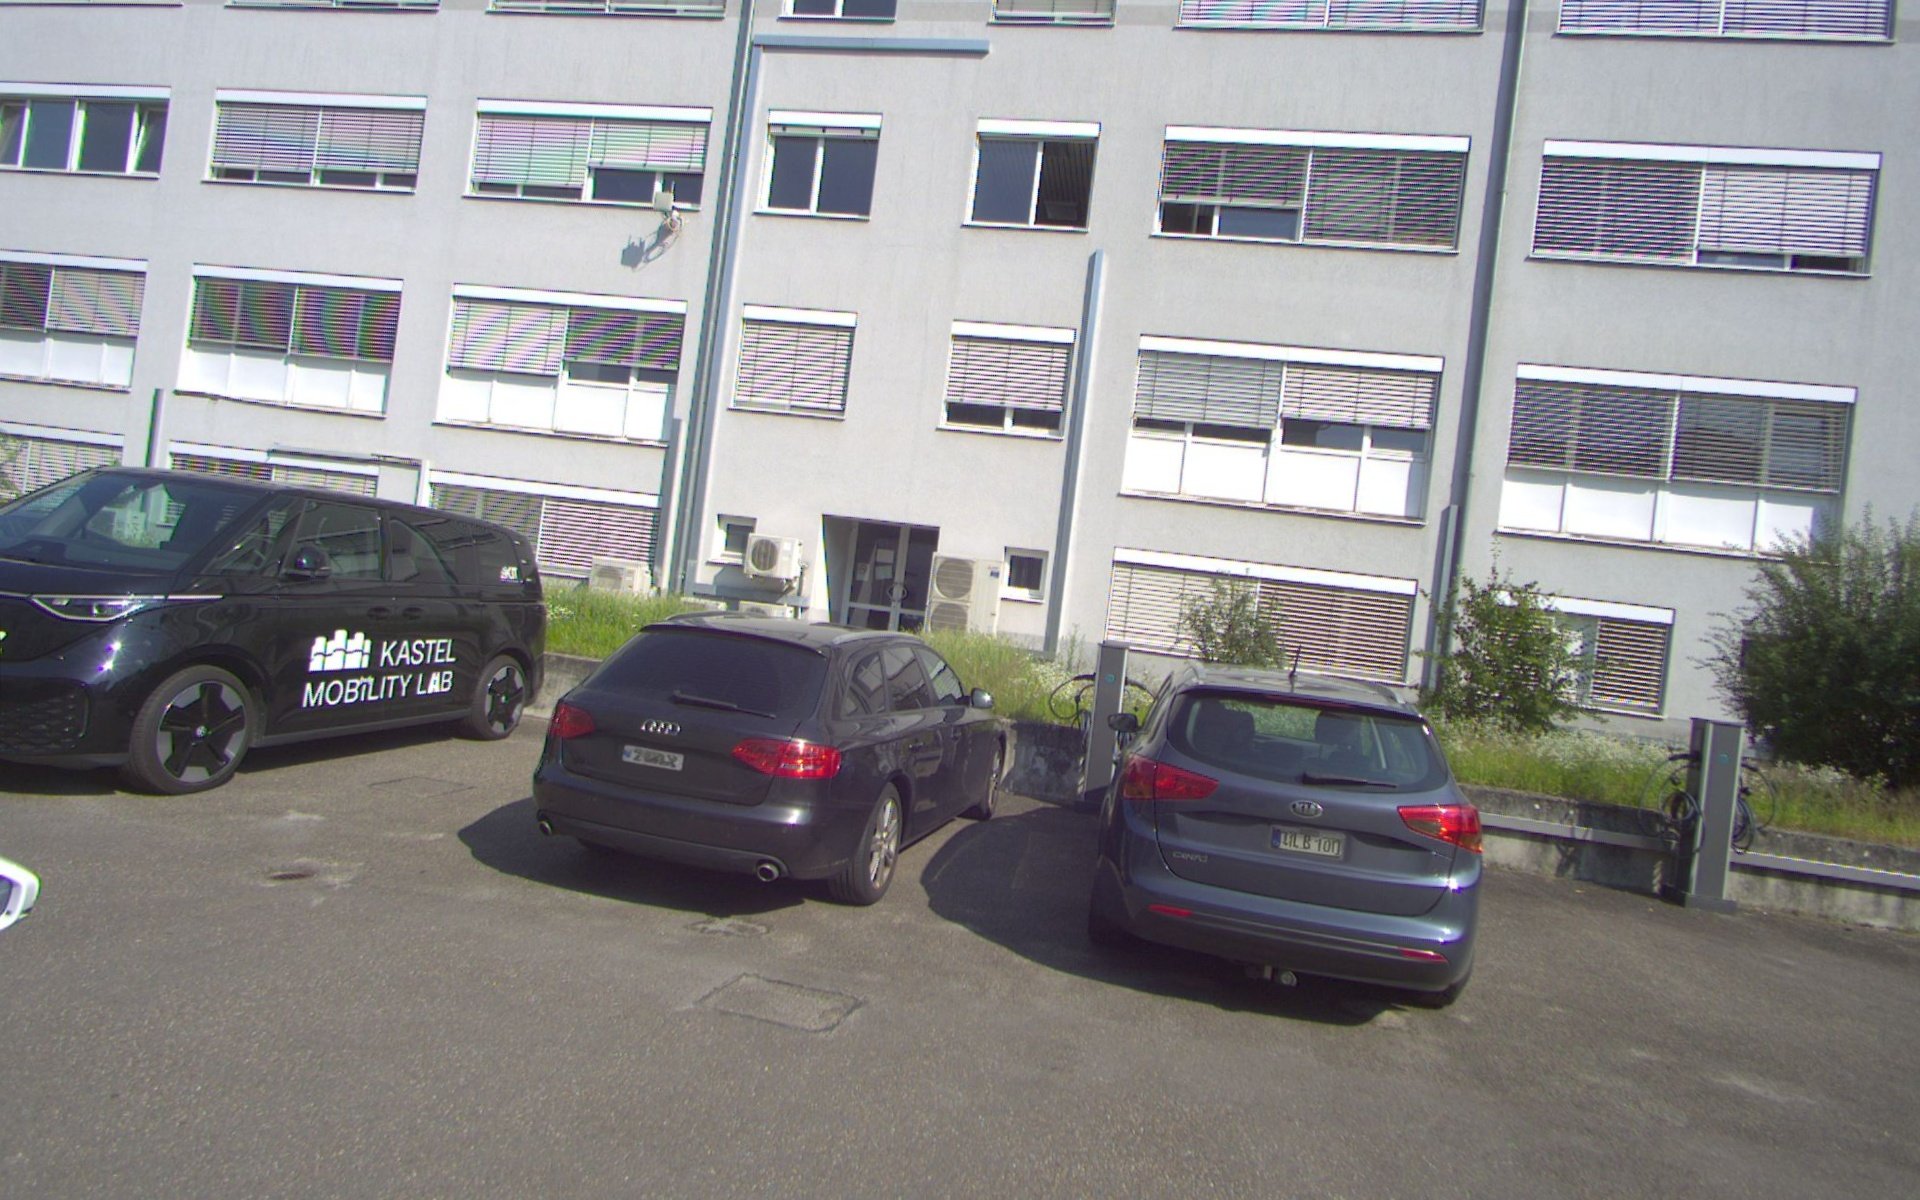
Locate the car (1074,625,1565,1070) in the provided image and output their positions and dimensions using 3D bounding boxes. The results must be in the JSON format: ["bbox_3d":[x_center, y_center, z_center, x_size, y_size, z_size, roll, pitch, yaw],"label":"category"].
[{"bbox_3d":[1.811,1.063,6.028,1.709,1.495,4.064,7,-1,12],"label":"car"}]

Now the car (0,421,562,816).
[{"bbox_3d":[-4.958,0.090,7.200,1.878,1.880,4.353,7,-1,7],"label":"car"}]

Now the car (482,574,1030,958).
[{"bbox_3d":[-0.828,0.828,6.562,1.658,1.454,4.250,7,-1,15],"label":"car"}]

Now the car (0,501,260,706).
[{"bbox_3d":[-7.736,-0.057,7.756,1.632,1.483,3.912,7,-1,3],"label":"car"}]
